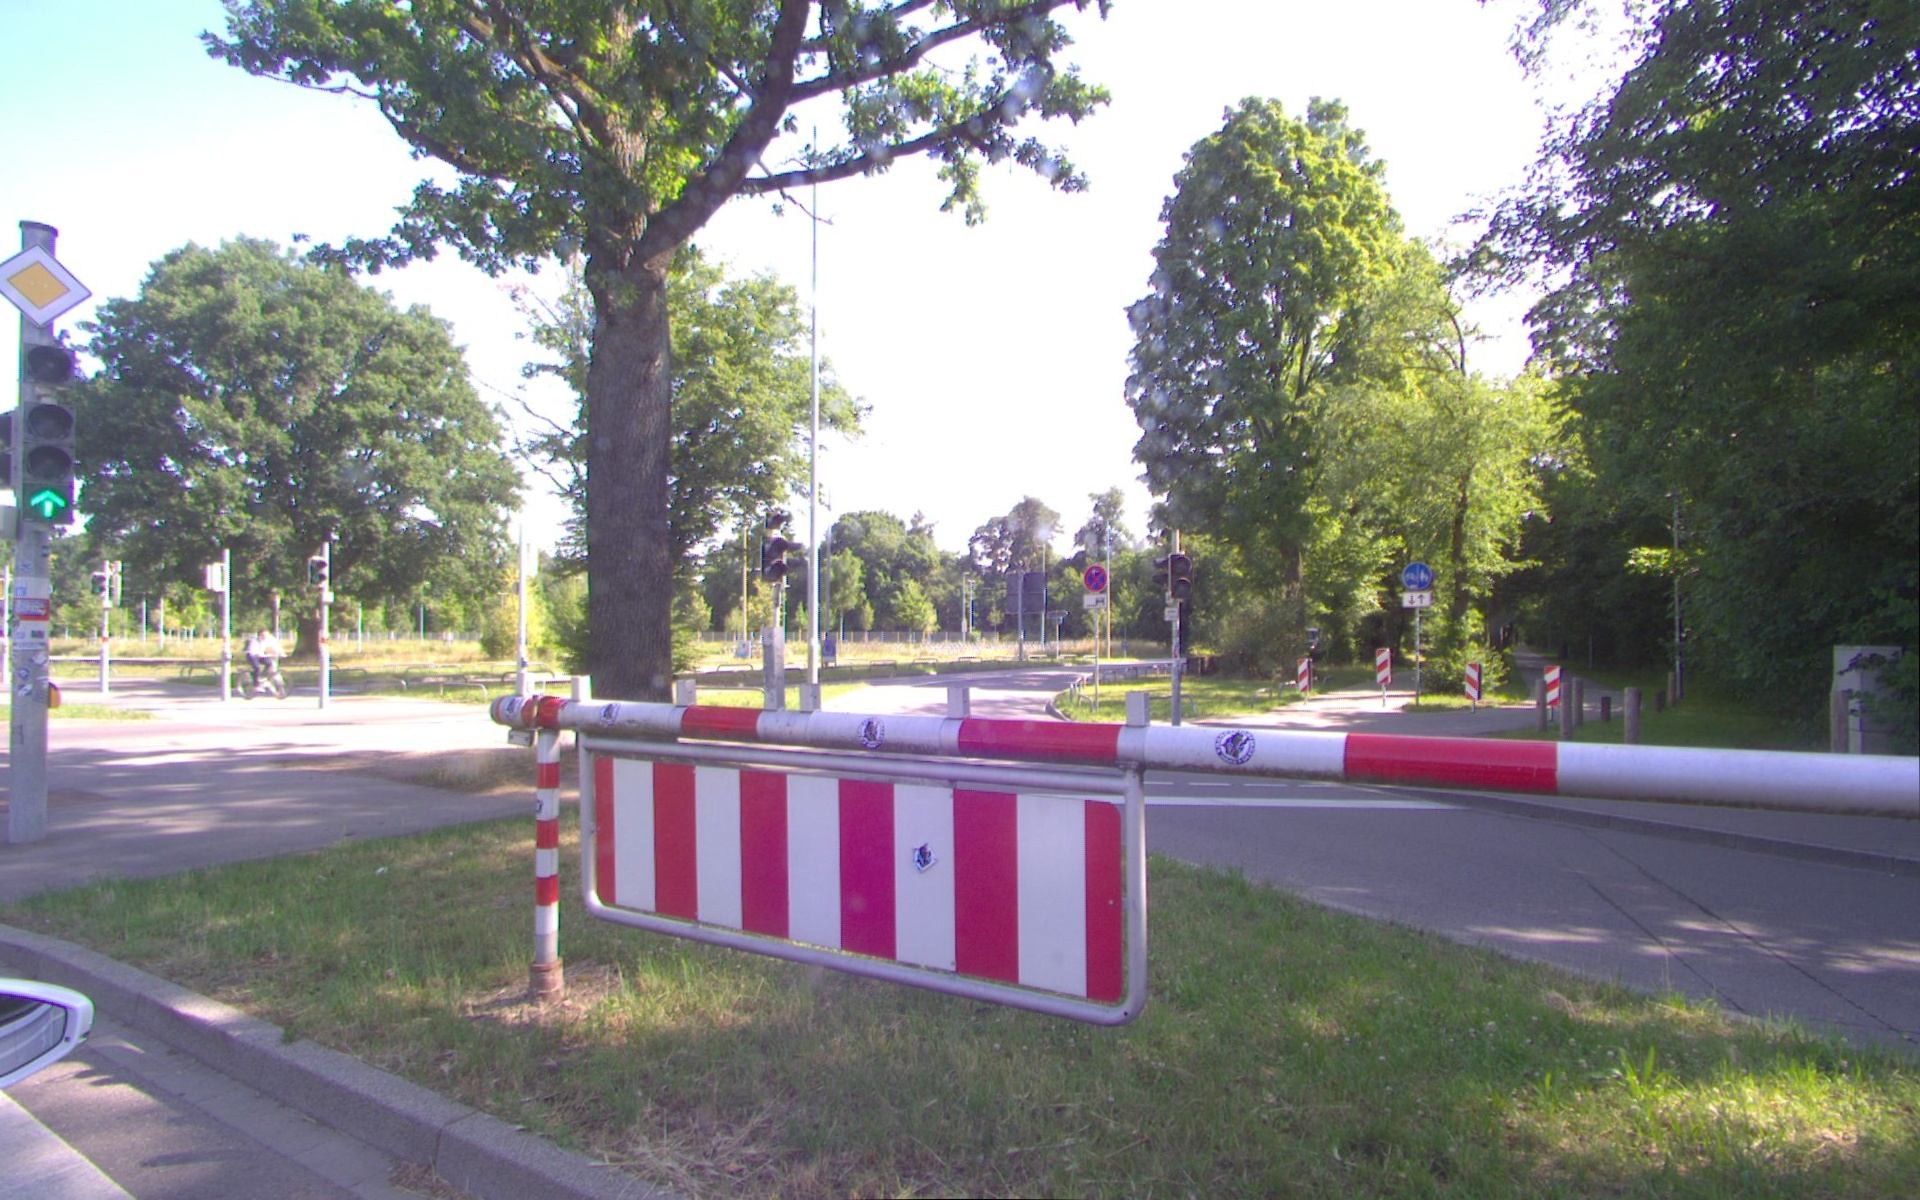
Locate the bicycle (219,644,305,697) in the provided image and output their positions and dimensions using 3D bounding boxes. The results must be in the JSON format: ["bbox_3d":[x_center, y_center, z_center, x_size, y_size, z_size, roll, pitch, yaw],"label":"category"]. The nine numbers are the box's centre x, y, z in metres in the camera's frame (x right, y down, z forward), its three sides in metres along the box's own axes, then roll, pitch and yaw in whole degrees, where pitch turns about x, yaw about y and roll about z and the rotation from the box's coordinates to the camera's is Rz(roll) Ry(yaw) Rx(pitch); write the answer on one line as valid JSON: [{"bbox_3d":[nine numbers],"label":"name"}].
[{"bbox_3d":[-16.816,1.677,24.119,2.065,1.215,0.724,0,-1,23],"label":"bicycle"}]

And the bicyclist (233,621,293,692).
[{"bbox_3d":[-16.777,1.341,24.112,1.040,1.660,0.724,0,-1,23],"label":"bicyclist"}]
